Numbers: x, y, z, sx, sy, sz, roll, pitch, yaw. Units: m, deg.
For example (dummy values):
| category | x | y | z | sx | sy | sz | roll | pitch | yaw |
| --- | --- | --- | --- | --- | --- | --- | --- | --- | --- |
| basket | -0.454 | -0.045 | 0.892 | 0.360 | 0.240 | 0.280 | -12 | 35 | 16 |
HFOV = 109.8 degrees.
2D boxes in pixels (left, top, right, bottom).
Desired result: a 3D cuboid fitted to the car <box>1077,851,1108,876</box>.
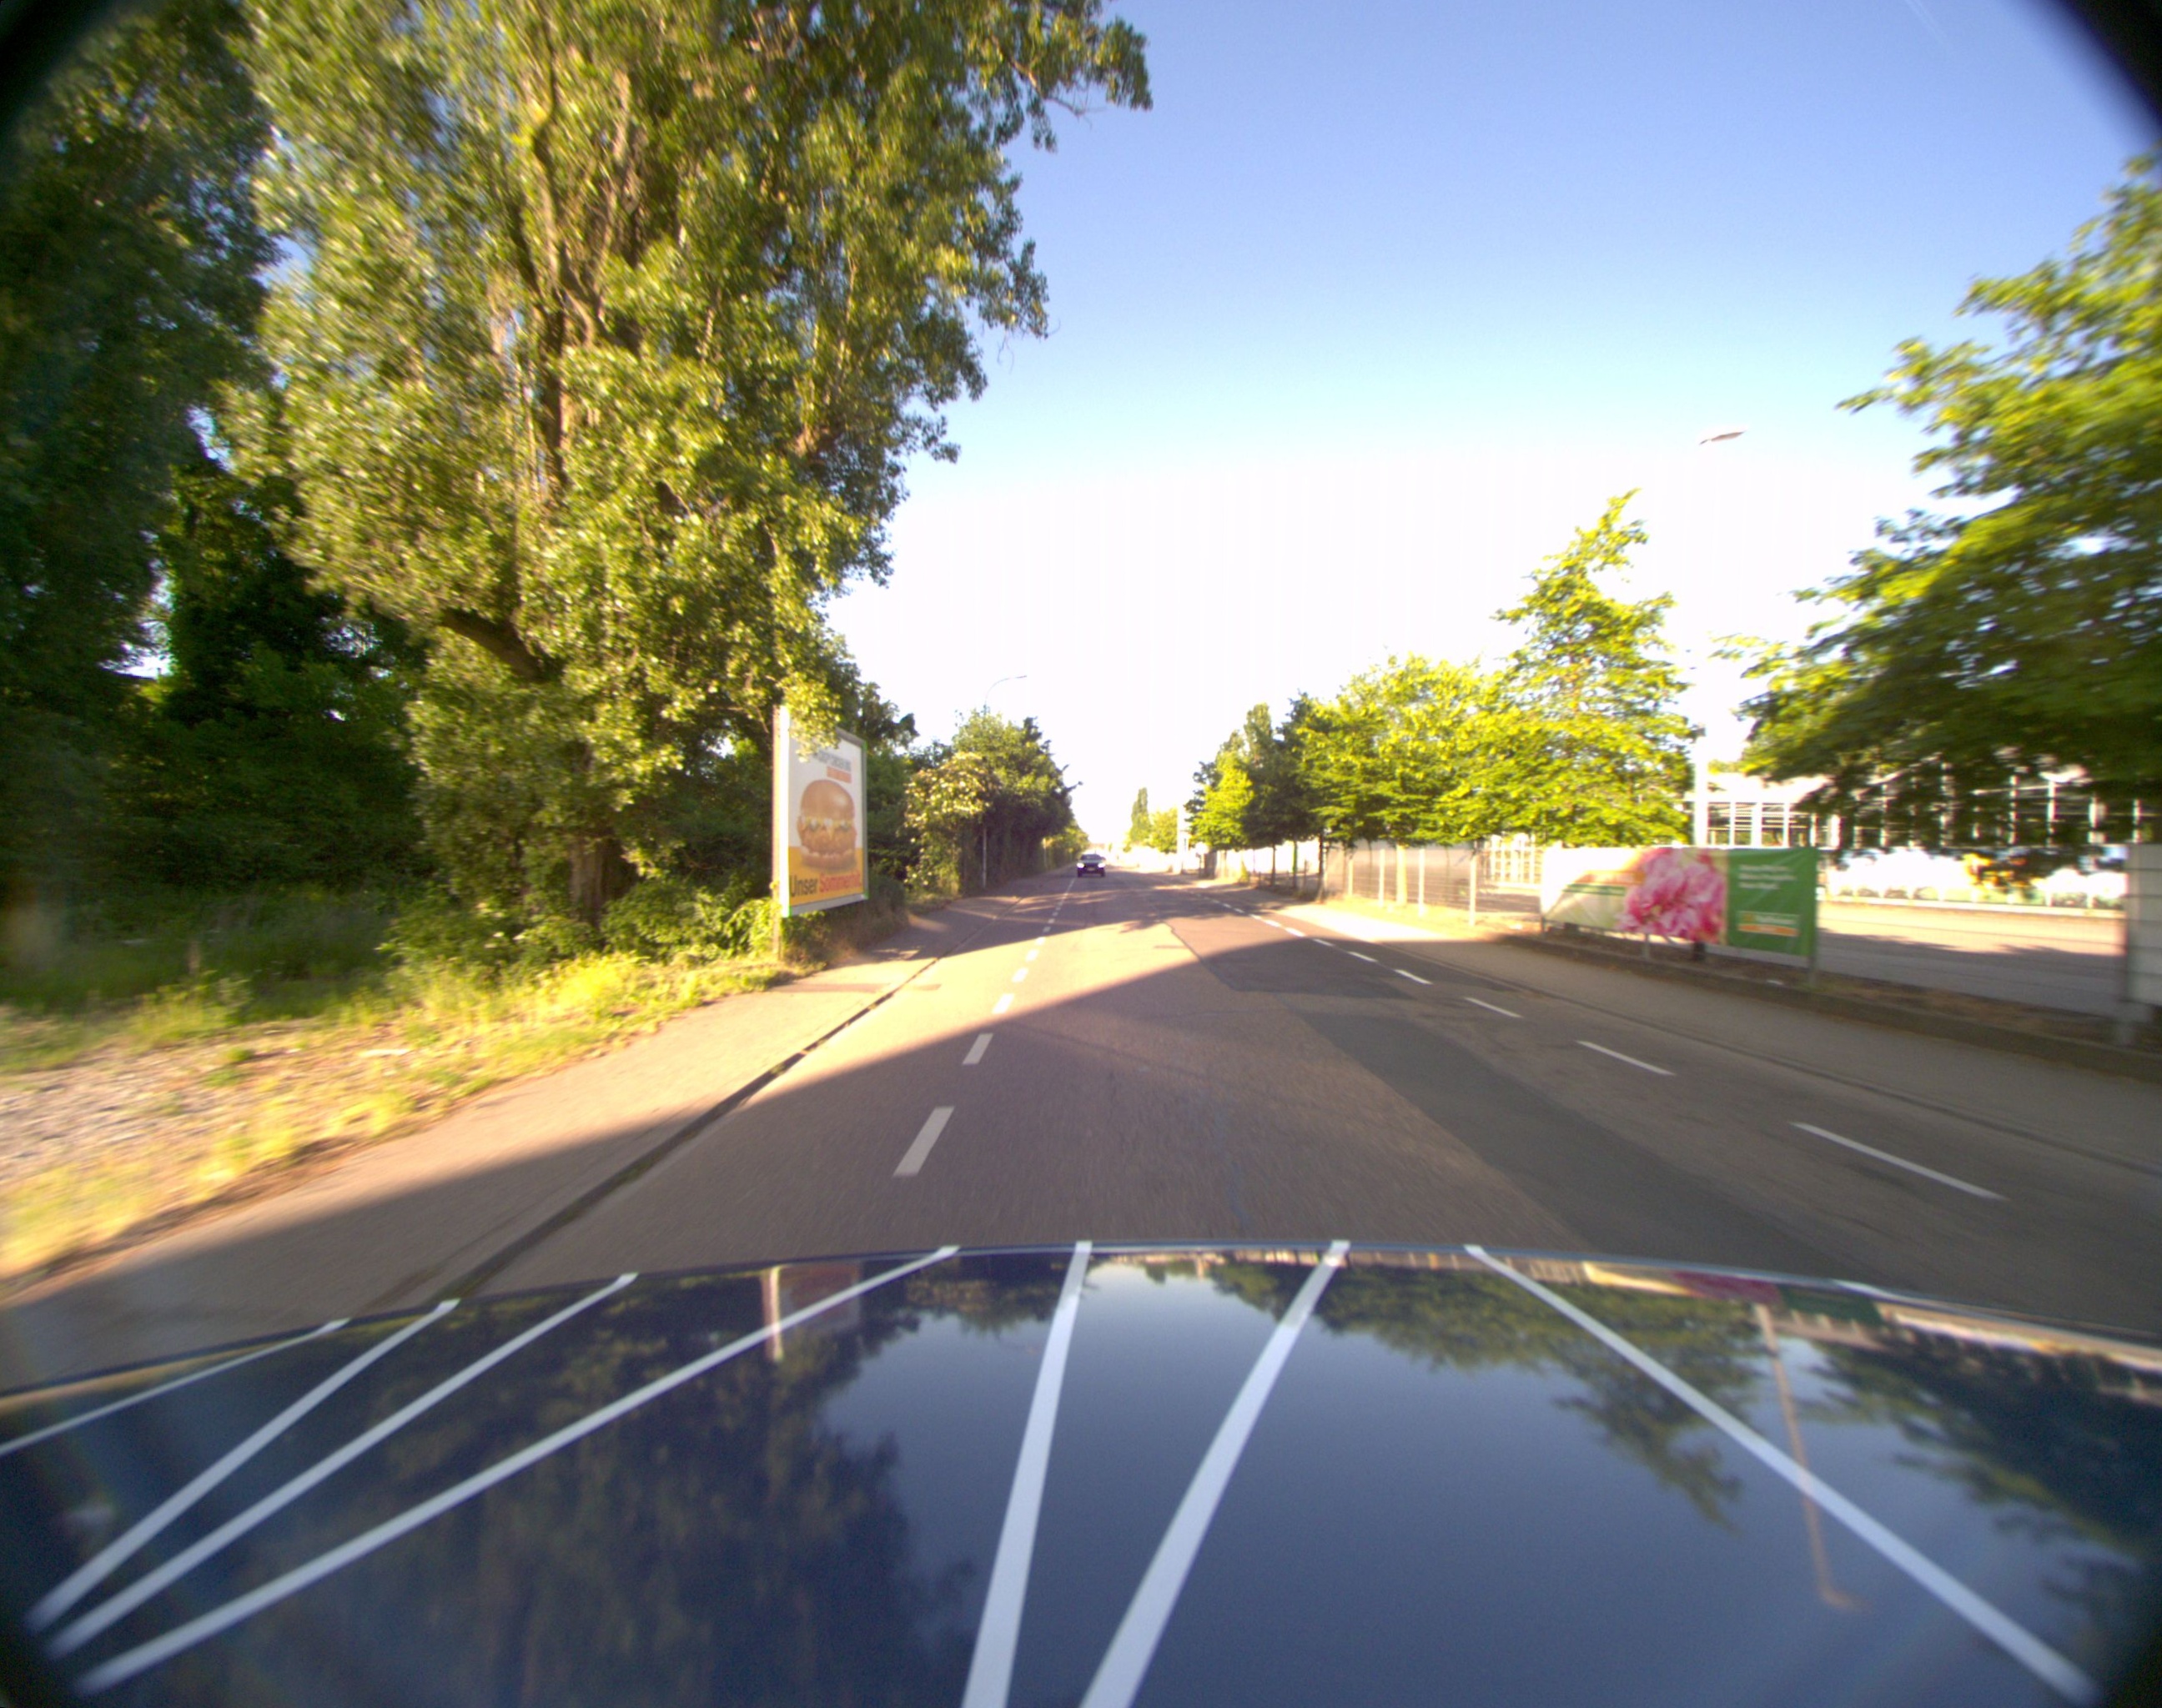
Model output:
| category | x | y | z | sx | sy | sz | roll | pitch | yaw |
| --- | --- | --- | --- | --- | --- | --- | --- | --- | --- |
| car | 0.795 | 0.608 | 53.348 | 1.999 | 1.608 | 3.999 | -3 | 0 | -1 |
